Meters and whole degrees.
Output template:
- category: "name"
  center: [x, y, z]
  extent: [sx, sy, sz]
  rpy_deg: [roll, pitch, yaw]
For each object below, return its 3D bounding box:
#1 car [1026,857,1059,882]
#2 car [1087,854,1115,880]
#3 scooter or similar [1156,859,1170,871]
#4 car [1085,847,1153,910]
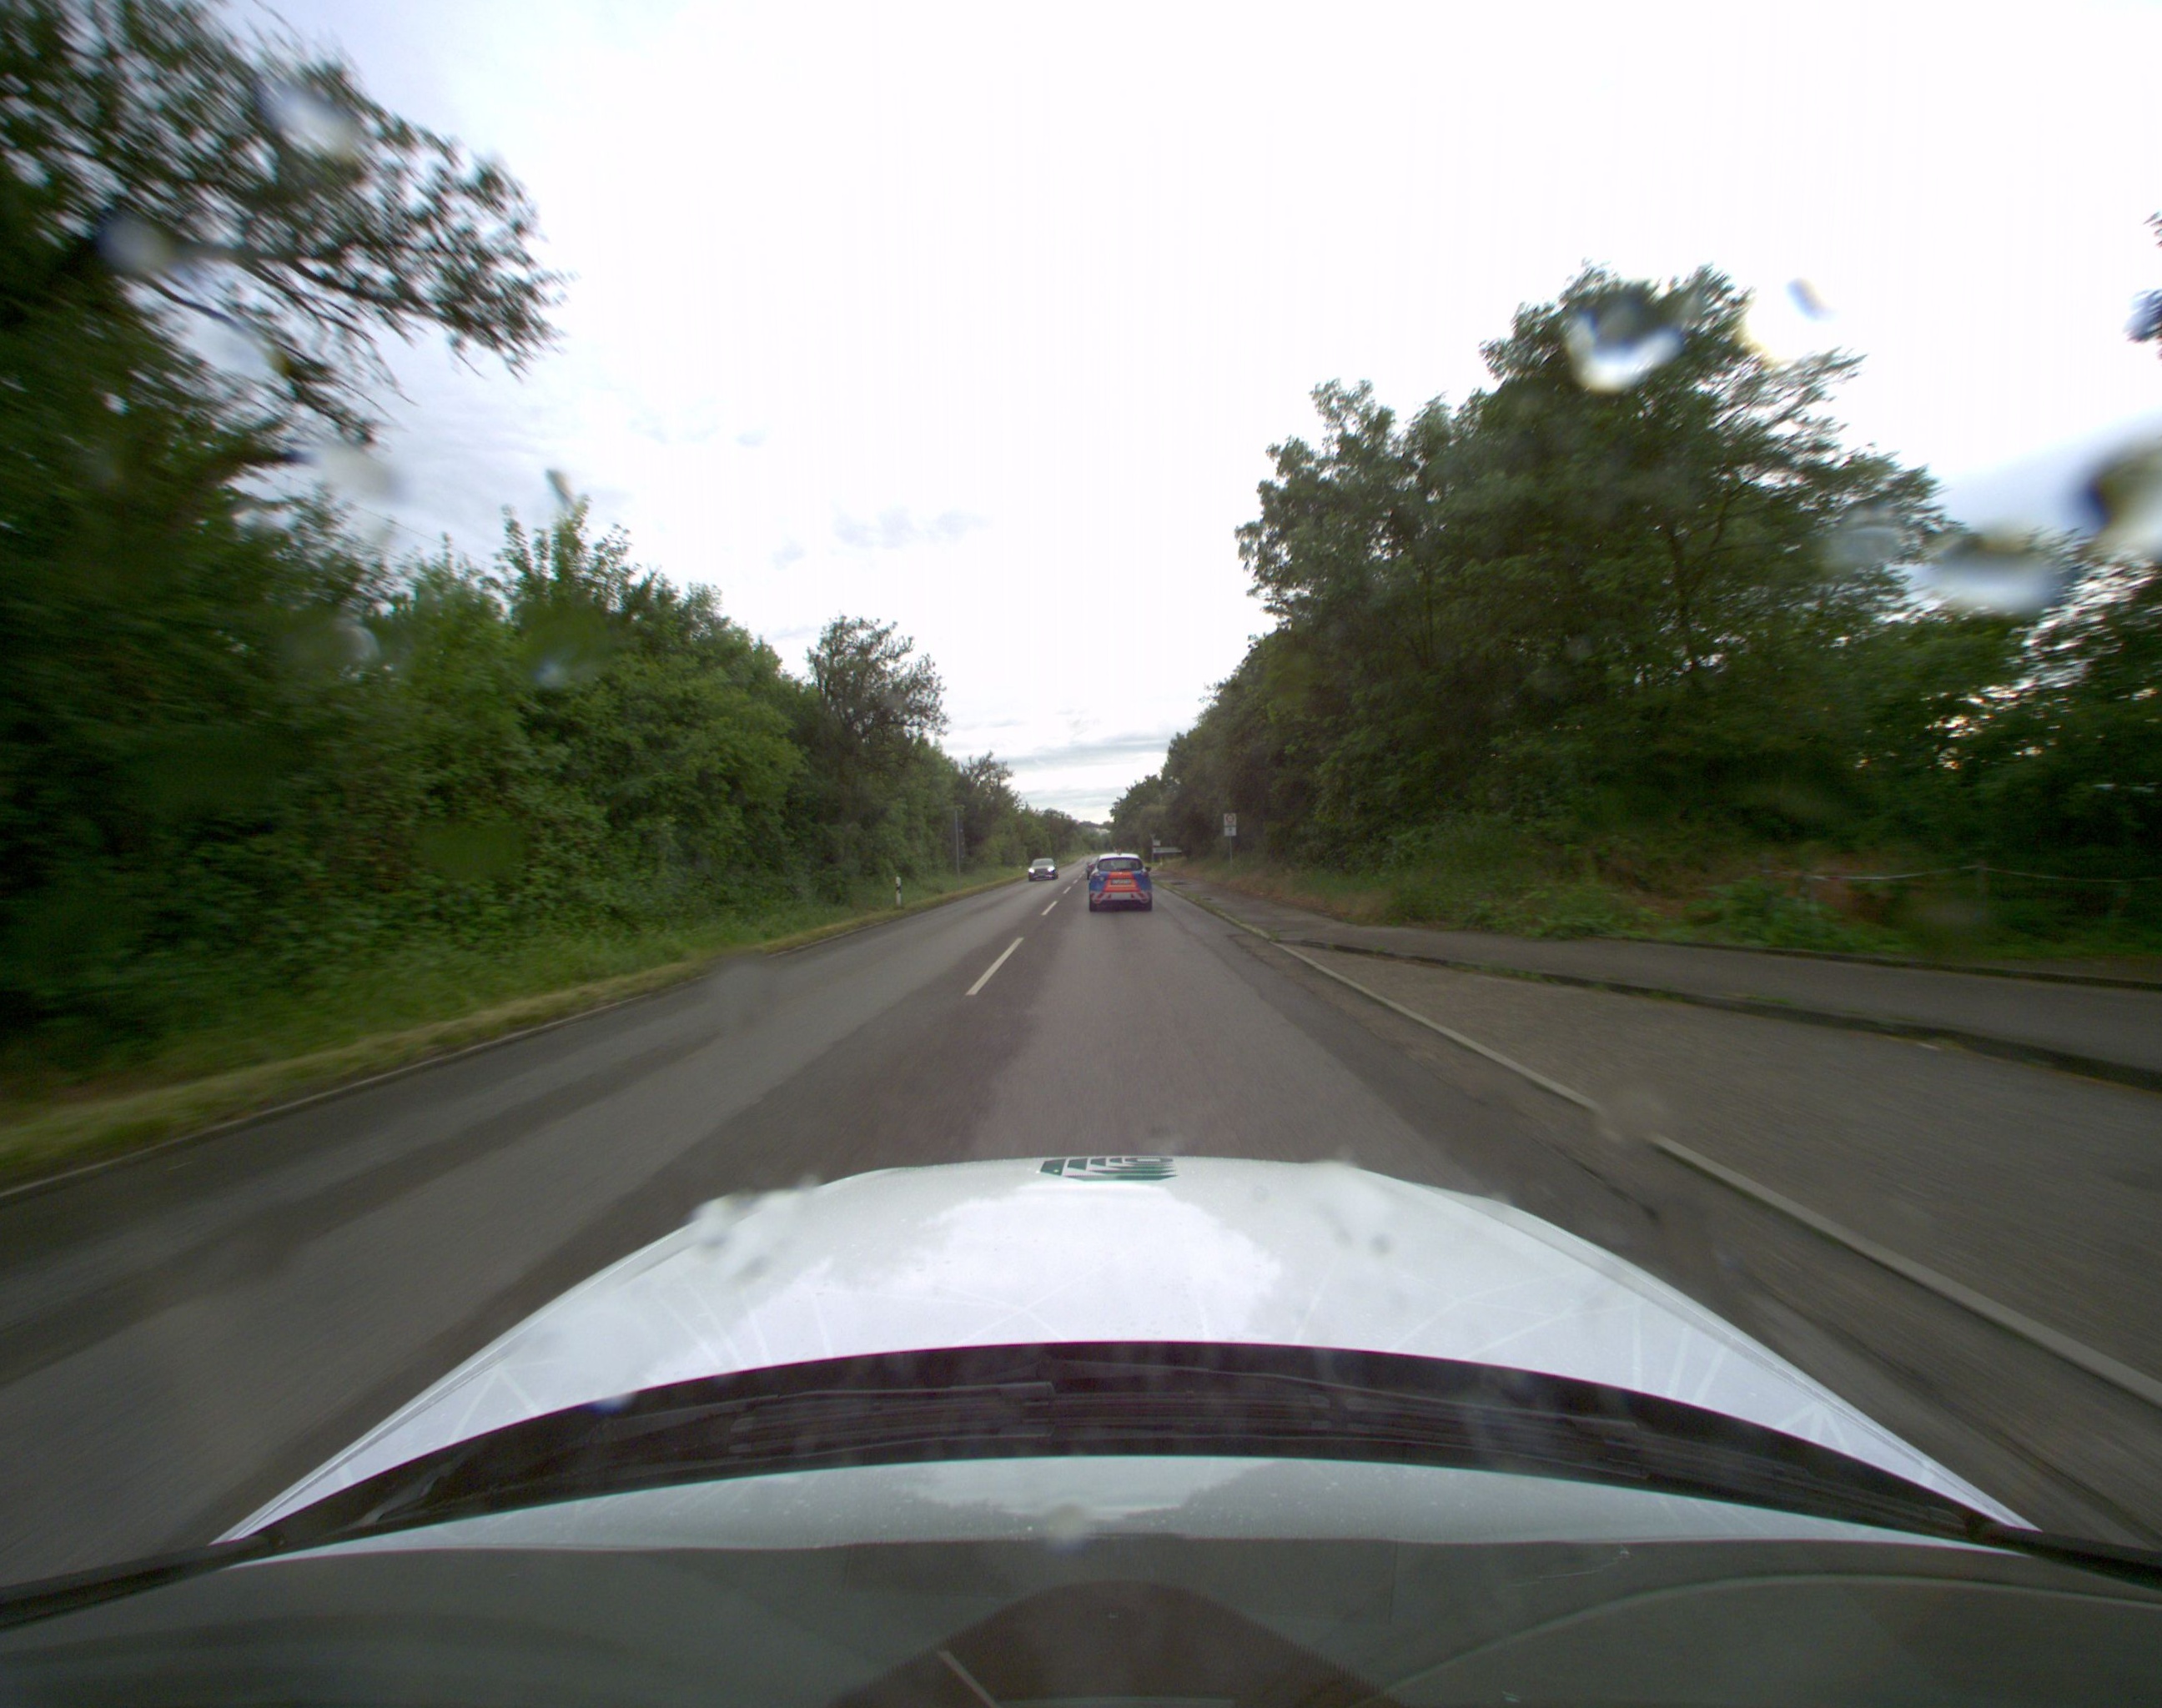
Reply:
- category: "car"
  center: [-2.614, 1.035, 56.491]
  extent: [1.864, 1.489, 4.575]
  rpy_deg: [-5, -1, 1]
- category: "car"
  center: [1.267, 0.816, 51.978]
  extent: [1.688, 1.595, 3.856]
  rpy_deg: [0, -1, 1]
- category: "scooter or similar"
  center: [8.181, 1.084, 81.146]
  extent: [1.310, 1.206, 0.376]
  rpy_deg: [-3, -1, 42]
- category: "car"
  center: [1.036, 0.660, 23.296]
  extent: [1.799, 1.668, 3.856]
  rpy_deg: [0, -1, 1]
